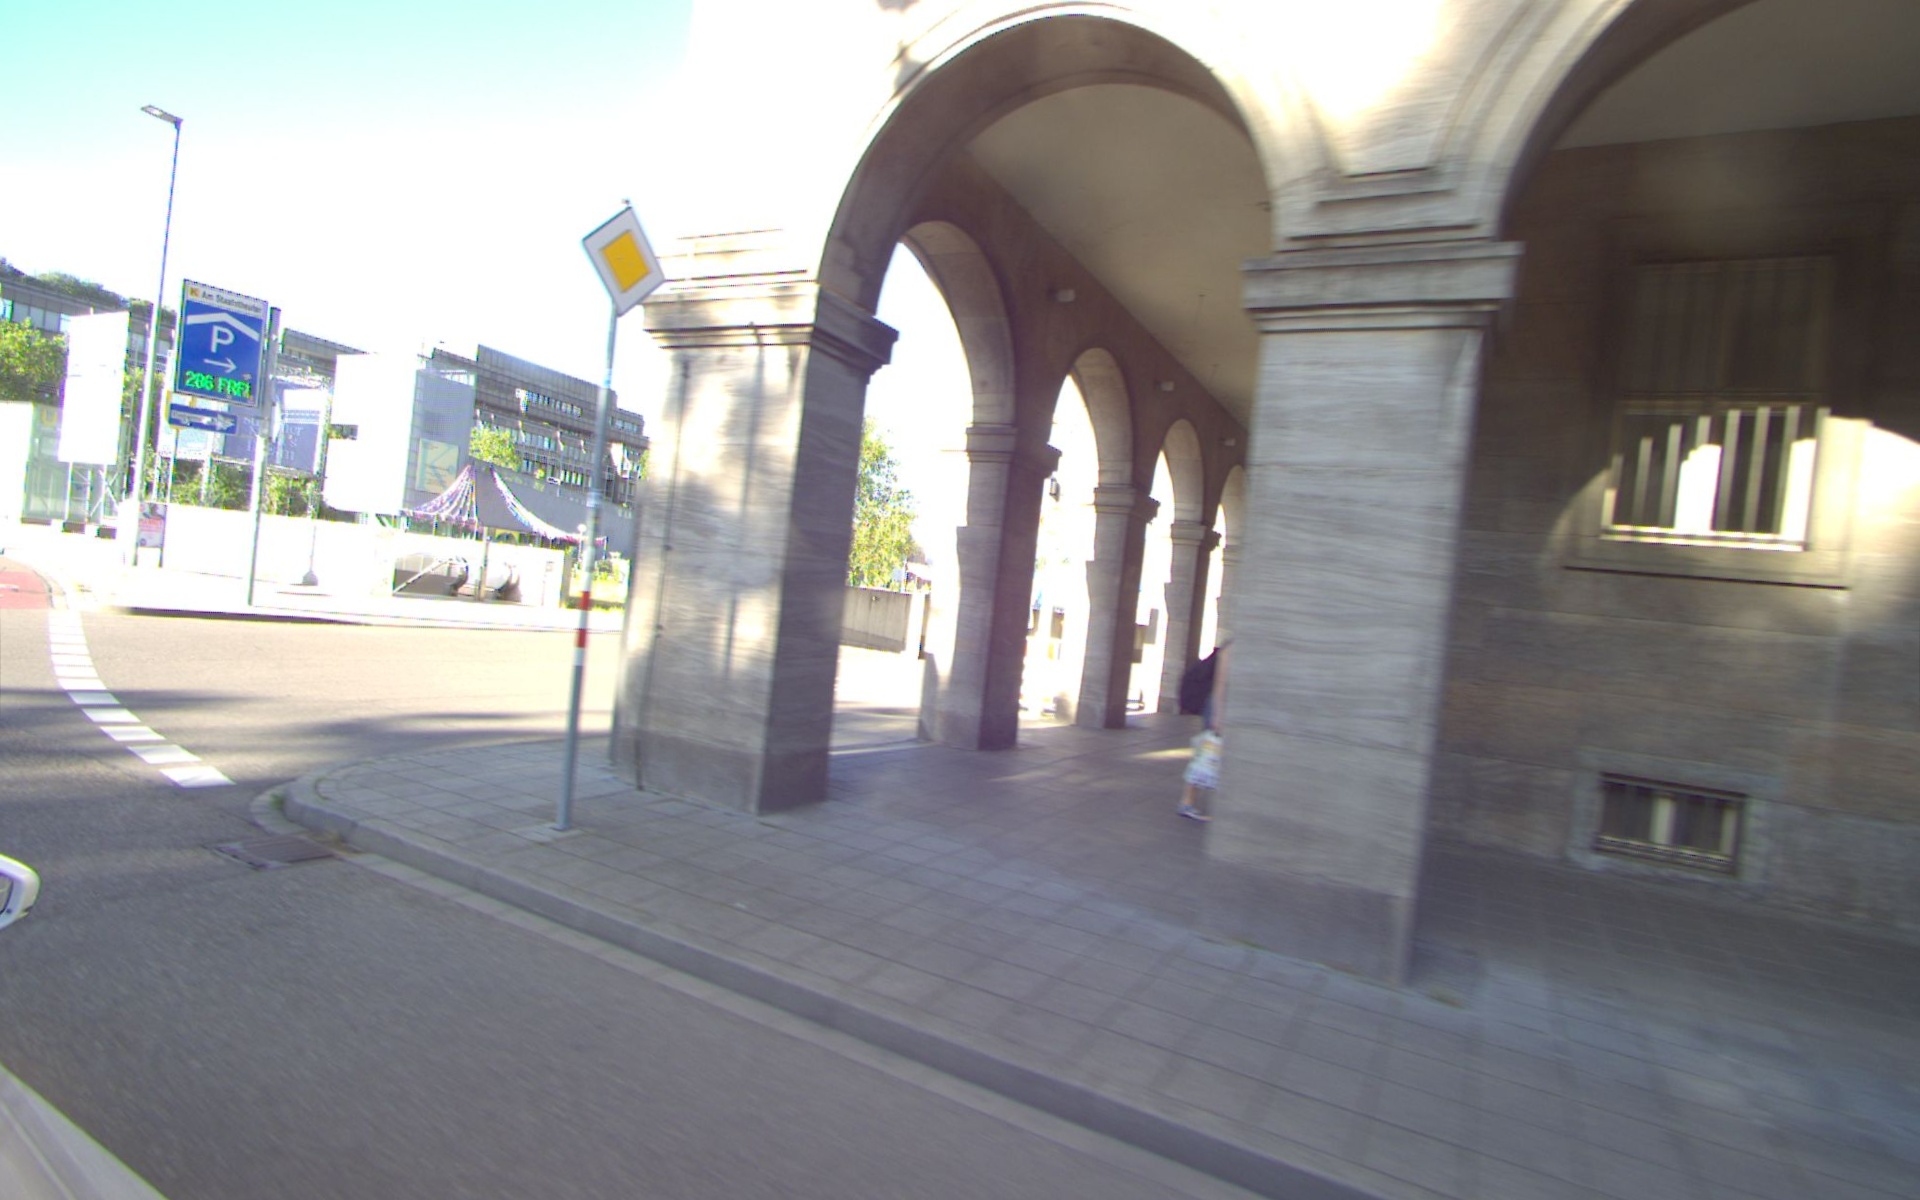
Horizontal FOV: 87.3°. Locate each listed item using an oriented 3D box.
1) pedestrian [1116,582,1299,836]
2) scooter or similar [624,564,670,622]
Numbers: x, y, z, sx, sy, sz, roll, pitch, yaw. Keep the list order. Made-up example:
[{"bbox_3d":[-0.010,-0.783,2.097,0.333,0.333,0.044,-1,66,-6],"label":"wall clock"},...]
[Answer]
[{"bbox_3d":[1.779,0.737,7.183,0.936,1.589,0.777,8,1,27],"label":"pedestrian"},{"bbox_3d":[-7.581,-0.173,24.326,1.351,1.262,0.359,8,3,45],"label":"scooter or similar"}]
